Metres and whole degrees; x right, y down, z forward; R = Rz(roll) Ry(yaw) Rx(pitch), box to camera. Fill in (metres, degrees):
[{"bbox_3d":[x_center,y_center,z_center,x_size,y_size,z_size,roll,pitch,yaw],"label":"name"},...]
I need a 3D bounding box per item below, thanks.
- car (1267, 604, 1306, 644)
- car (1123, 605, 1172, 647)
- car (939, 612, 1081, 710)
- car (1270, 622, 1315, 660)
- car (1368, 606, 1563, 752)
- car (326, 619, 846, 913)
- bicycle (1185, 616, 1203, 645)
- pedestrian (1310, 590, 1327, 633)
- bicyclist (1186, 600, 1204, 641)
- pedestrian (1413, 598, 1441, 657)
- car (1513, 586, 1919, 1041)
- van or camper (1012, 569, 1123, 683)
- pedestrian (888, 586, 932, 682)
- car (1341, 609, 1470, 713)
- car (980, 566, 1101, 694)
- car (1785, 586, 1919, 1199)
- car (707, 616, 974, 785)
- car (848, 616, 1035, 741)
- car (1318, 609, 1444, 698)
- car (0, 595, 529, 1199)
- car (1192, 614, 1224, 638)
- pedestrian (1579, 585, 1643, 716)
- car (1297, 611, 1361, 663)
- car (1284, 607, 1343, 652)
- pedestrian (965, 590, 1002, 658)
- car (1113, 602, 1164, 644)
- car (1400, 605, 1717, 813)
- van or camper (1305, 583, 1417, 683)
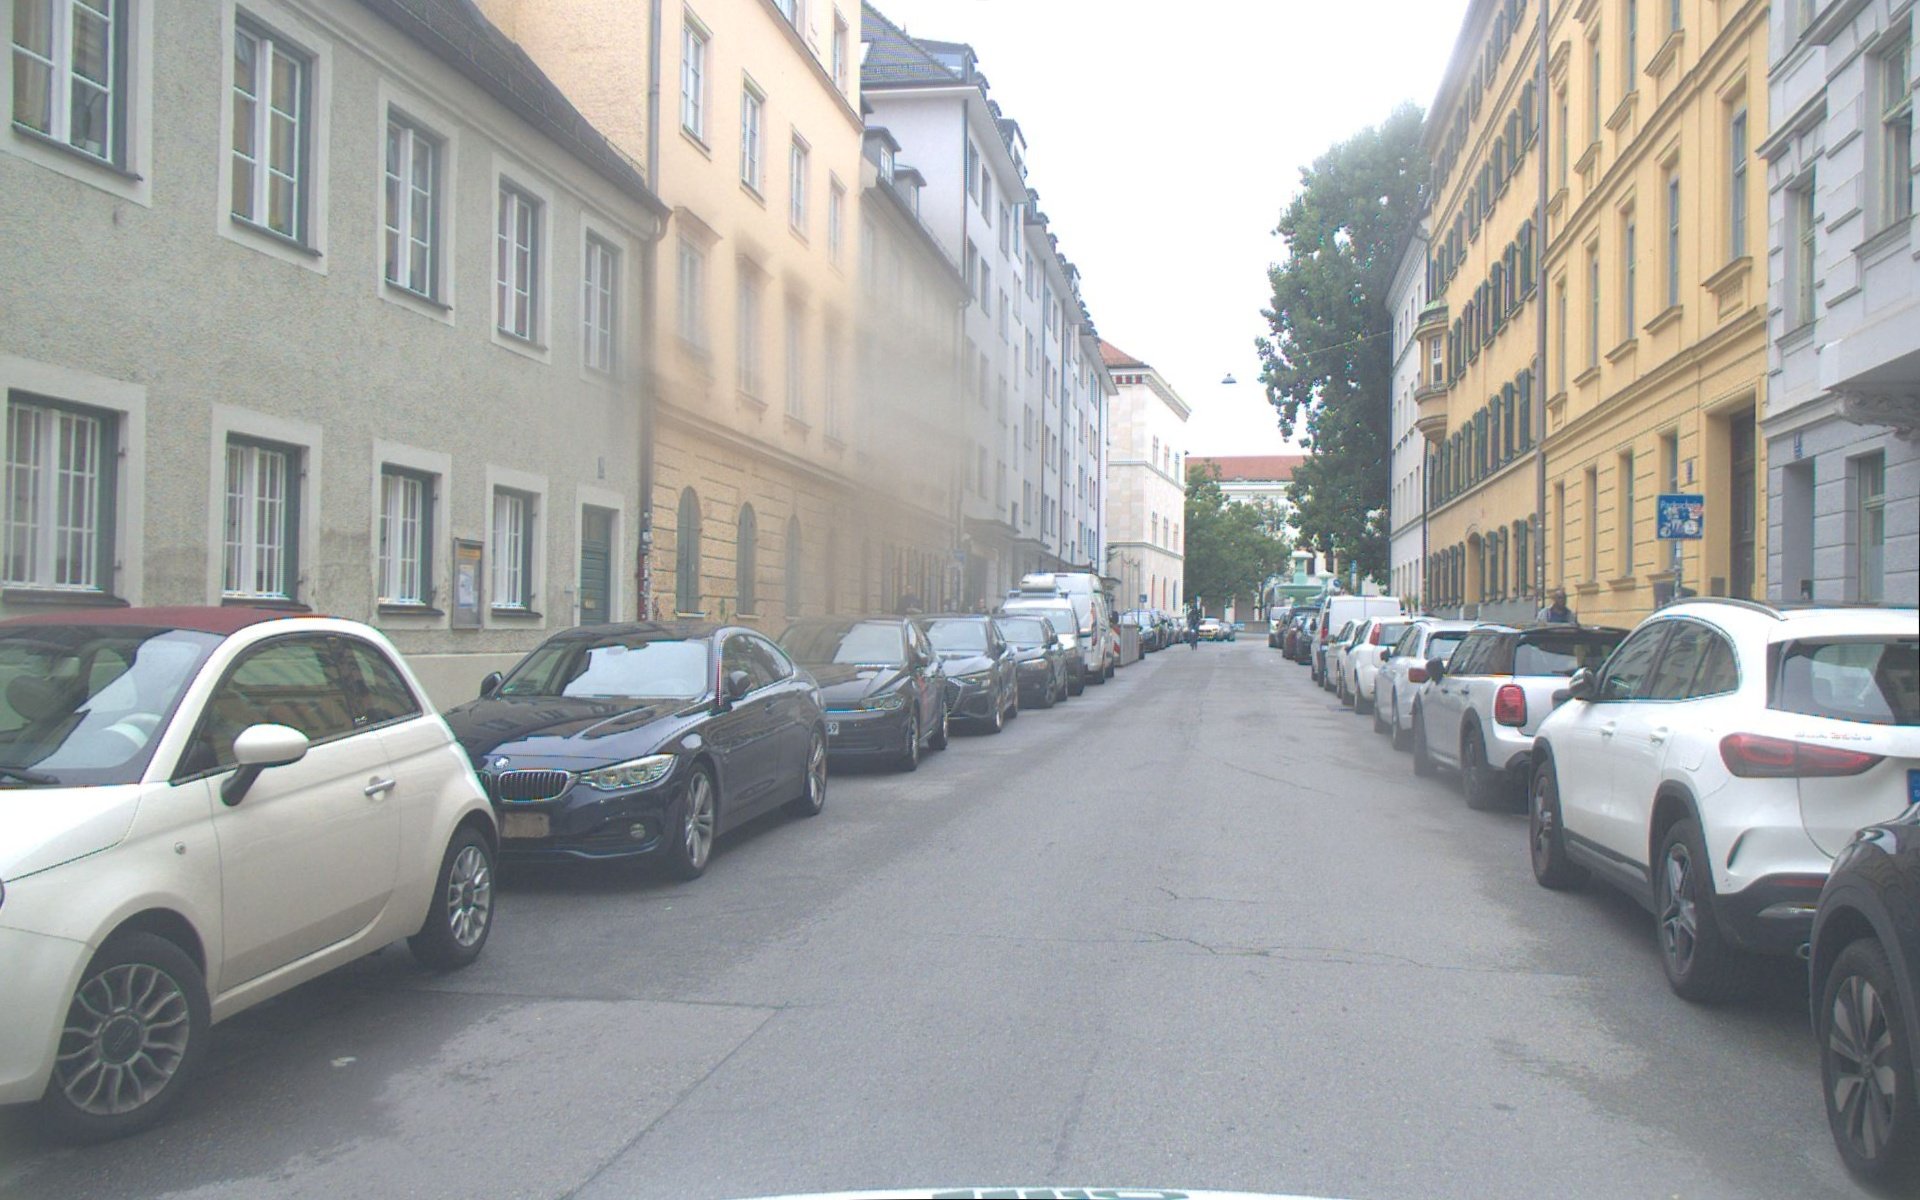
[{"bbox_3d":[16.347,1.194,82.625,1.842,1.958,4.878,0,-1,12],"label":"car"},{"bbox_3d":[8.040,1.089,70.629,1.832,1.718,4.524,-1,0,9],"label":"car"},{"bbox_3d":[0.889,0.916,26.672,1.818,1.426,4.272,1,0,8],"label":"car"},{"bbox_3d":[15.366,1.880,76.567,1.769,1.628,4.218,1,-1,8],"label":"car"},{"bbox_3d":[5.912,0.849,19.799,1.680,1.536,4.472,0,0,10],"label":"car"},{"bbox_3d":[-2.071,0.858,10.547,1.818,1.426,4.272,1,0,8],"label":"car"},{"bbox_3d":[9.593,1.240,67.705,0.717,1.171,2.001,0,0,9],"label":"bicycle"},{"bbox_3d":[18.668,0.591,86.153,0.776,2.236,0.814,1,-1,9],"label":"pedestrian"},{"bbox_3d":[9.639,0.851,67.787,0.672,1.656,0.853,1,-1,8],"label":"bicyclist"},{"bbox_3d":[13.479,0.778,47.728,0.584,1.667,0.897,-3,-1,8],"label":"pedestrian"},{"bbox_3d":[3.971,0.777,8.041,1.680,1.629,4.326,0,0,8],"label":"car"},{"bbox_3d":[2.482,0.553,36.989,1.951,2.352,5.483,0,0,9],"label":"van or camper"},{"bbox_3d":[-1.074,0.721,35.568,0.788,2.049,0.750,0,-1,11],"label":"pedestrian"},{"bbox_3d":[7.017,0.911,26.336,1.588,1.536,3.764,0,0,9],"label":"car"},{"bbox_3d":[1.612,0.544,31.610,1.818,2.240,4.565,1,0,9],"label":"car"},{"bbox_3d":[3.037,0.757,2.969,1.680,1.594,4.146,0,0,10],"label":"car"},{"bbox_3d":[-1.047,0.903,16.730,1.818,1.426,4.272,1,0,8],"label":"car"},{"bbox_3d":[-0.129,0.940,21.702,1.818,1.426,4.272,1,0,8],"label":"car"},{"bbox_3d":[7.831,0.947,31.134,1.777,1.536,4.591,0,0,8],"label":"car"},{"bbox_3d":[-2.913,0.763,5.812,1.535,1.541,3.426,1,0,7],"label":"car"},{"bbox_3d":[16.815,1.802,112.200,1.740,1.562,4.214,-1,-2,14],"label":"car"},{"bbox_3d":[9.576,0.730,24.346,0.686,1.895,0.805,0,0,8],"label":"pedestrian"},{"bbox_3d":[11.224,1.098,50.539,1.708,1.490,4.003,0,0,10],"label":"car"},{"bbox_3d":[11.975,1.000,56.168,1.677,1.449,4.461,0,-1,8],"label":"car"},{"bbox_3d":[0.618,0.624,43.269,0.788,1.742,1.022,0,0,11],"label":"pedestrian"},{"bbox_3d":[7.063,0.876,65.156,1.735,1.566,4.162,-1,0,9],"label":"car"},{"bbox_3d":[4.975,0.822,14.298,1.680,1.536,3.939,0,0,6],"label":"car"},{"bbox_3d":[8.720,0.684,36.364,1.951,2.049,5.237,0,0,9],"label":"van or camper"}]
